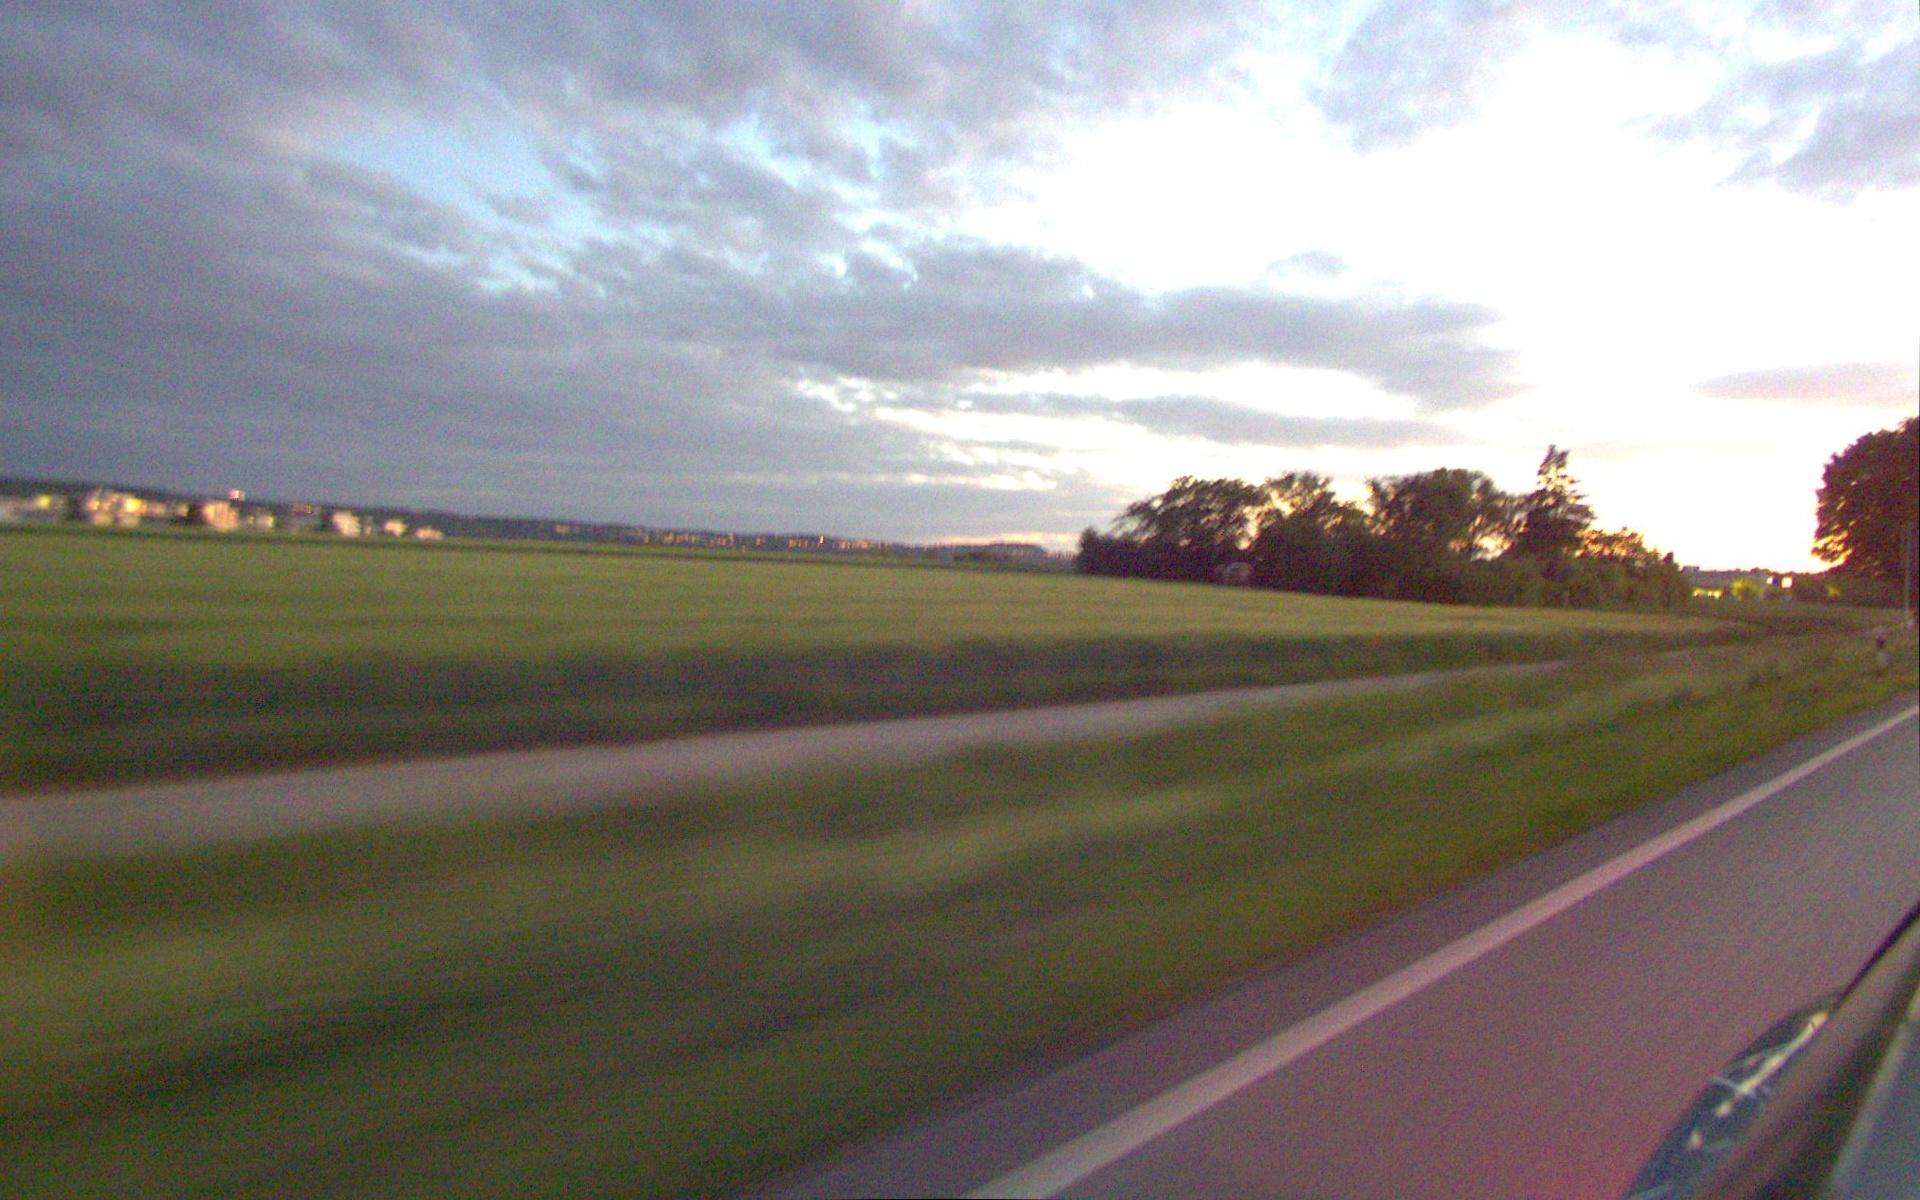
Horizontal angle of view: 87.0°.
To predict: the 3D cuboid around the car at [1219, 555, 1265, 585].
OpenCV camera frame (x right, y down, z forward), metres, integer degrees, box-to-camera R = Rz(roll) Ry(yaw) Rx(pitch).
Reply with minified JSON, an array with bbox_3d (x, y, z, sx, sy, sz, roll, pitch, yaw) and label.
[{"bbox_3d":[21.869,-2.284,78.371,1.989,2.178,4.520,4,3,36],"label":"car"}]
